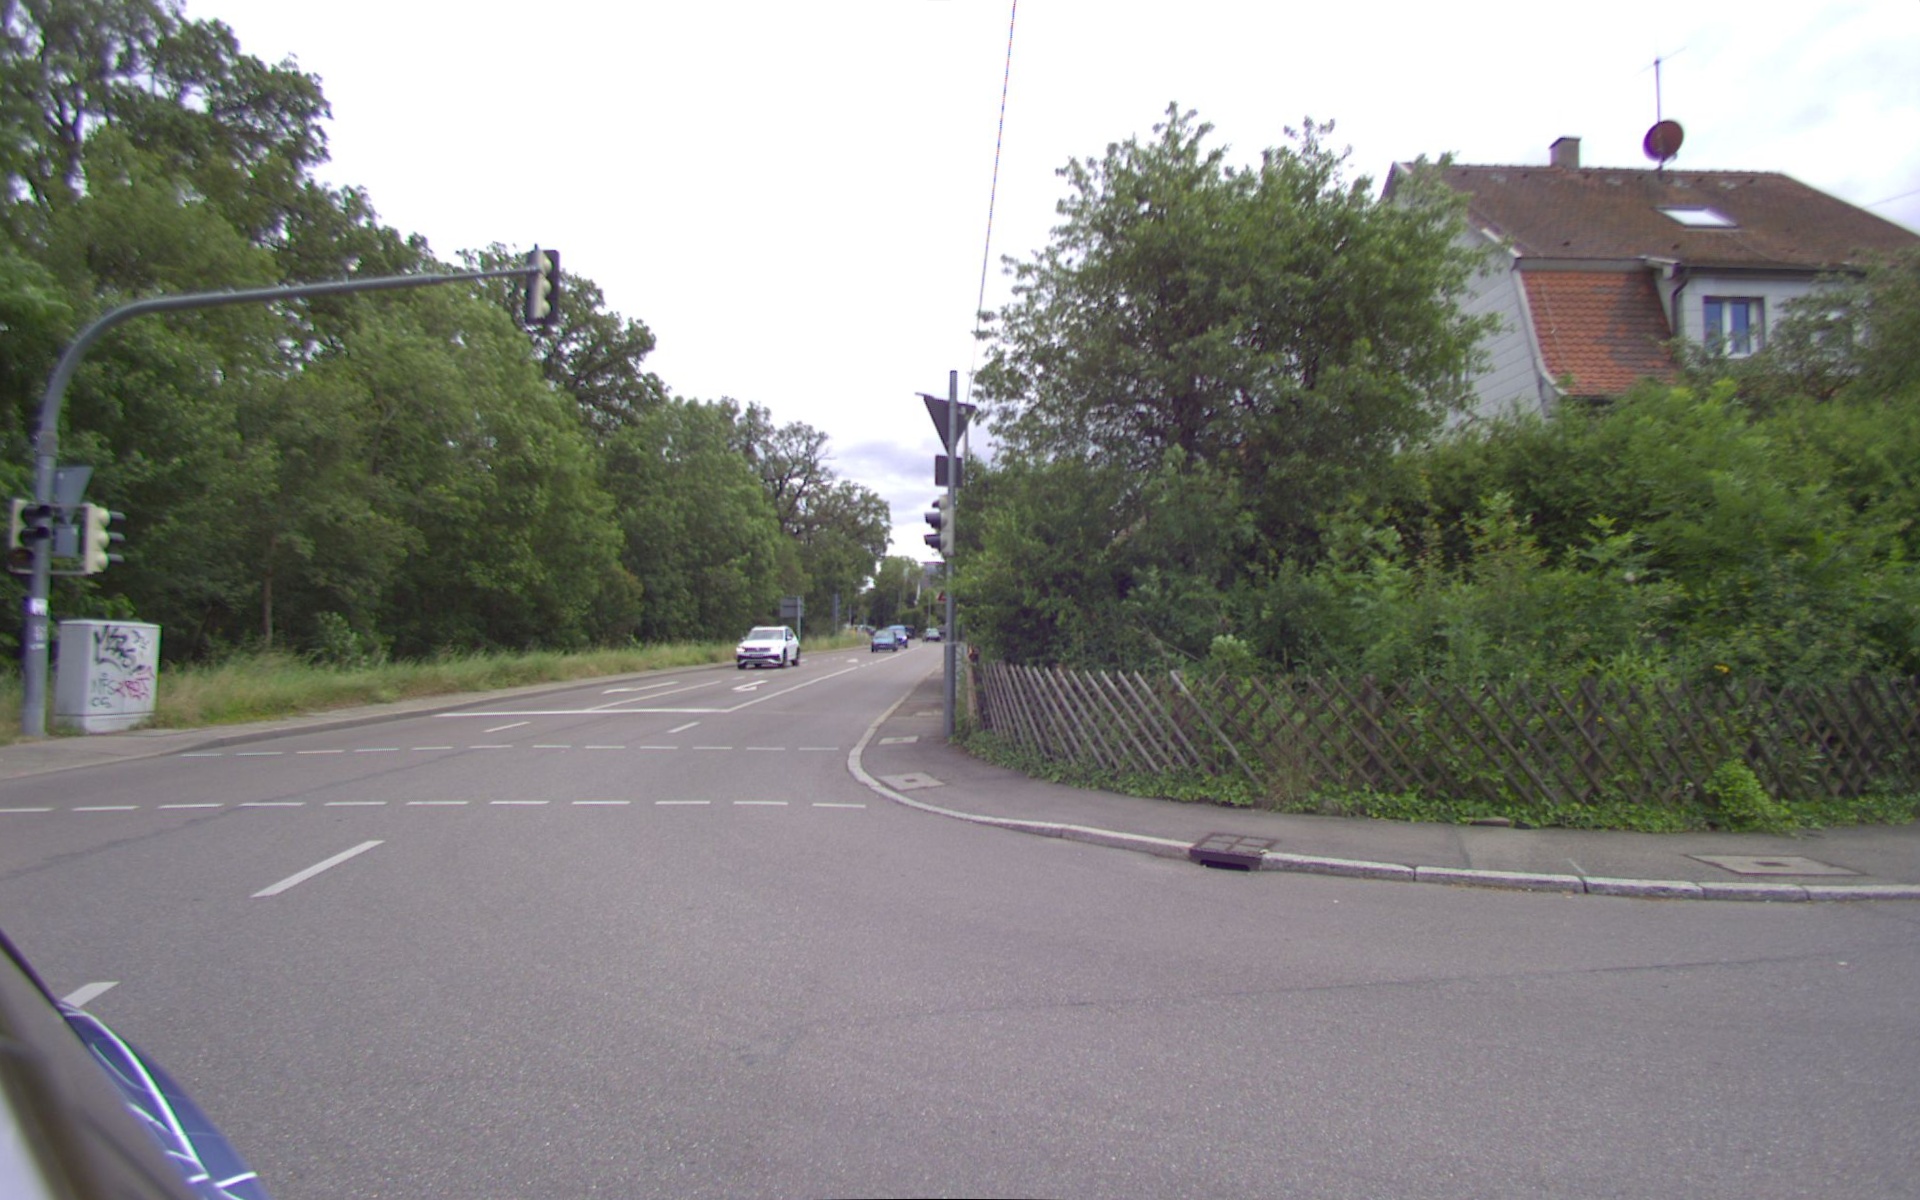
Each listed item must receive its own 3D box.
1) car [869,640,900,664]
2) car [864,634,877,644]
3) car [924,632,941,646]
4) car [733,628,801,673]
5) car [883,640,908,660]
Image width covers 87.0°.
[{"bbox_3d":[-4.962,3.441,66.906,1.761,1.522,3.599,-1,-3,0],"label":"car"},{"bbox_3d":[-14.184,6.209,161.122,1.761,1.522,3.599,-1,-3,0],"label":"car"},{"bbox_3d":[-3.117,4.442,115.215,1.761,1.522,3.599,-1,-3,0],"label":"car"},{"bbox_3d":[-7.574,2.006,40.118,1.838,1.640,4.653,-1,-3,0],"label":"car"},{"bbox_3d":[-5.085,3.962,79.785,1.761,1.522,3.599,-1,-3,0],"label":"car"}]
